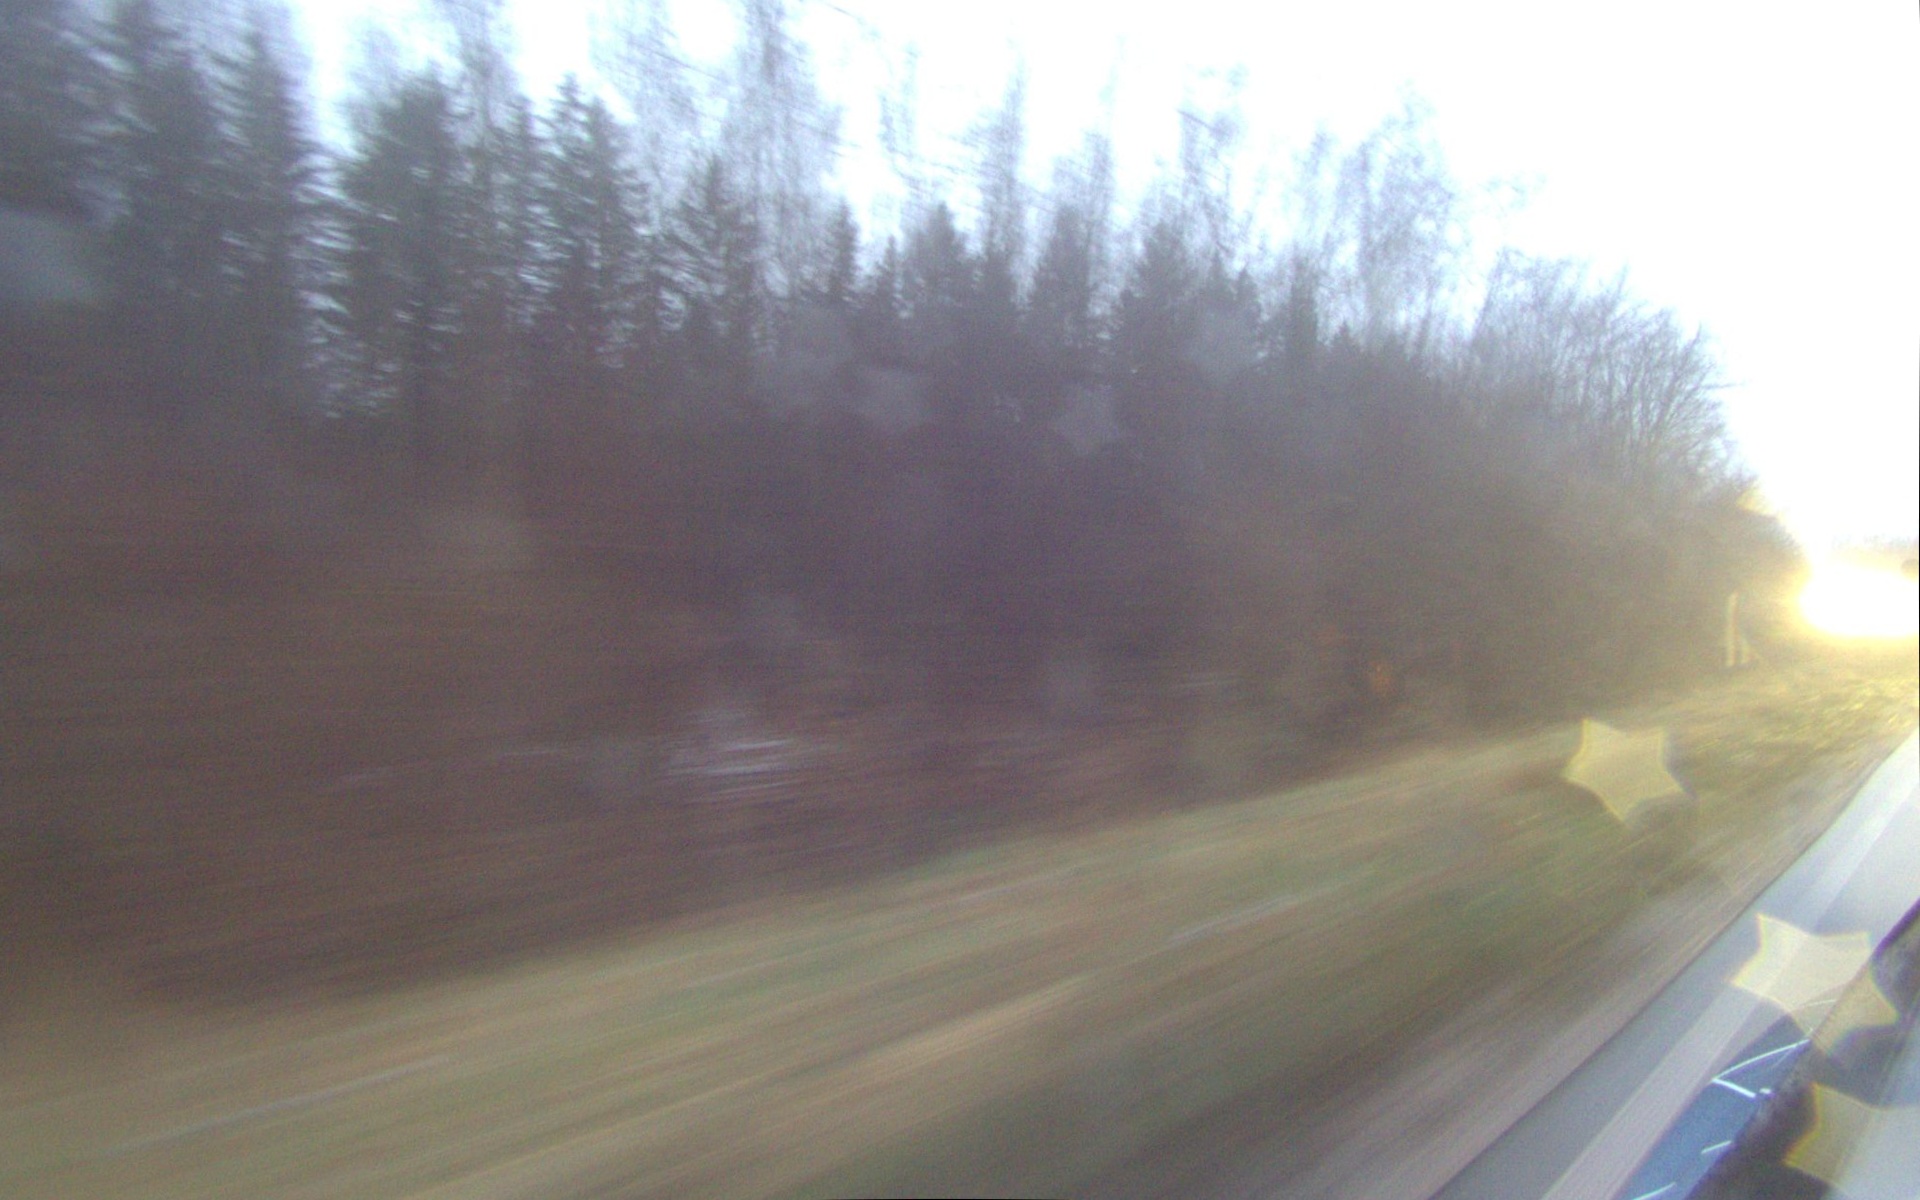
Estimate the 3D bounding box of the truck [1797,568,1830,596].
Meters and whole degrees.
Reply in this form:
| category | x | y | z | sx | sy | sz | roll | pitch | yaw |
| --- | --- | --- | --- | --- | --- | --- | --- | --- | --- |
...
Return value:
| category | x | y | z | sx | sy | sz | roll | pitch | yaw |
| --- | --- | --- | --- | --- | --- | --- | --- | --- | --- |
| truck | 148.821 | -3.136 | 176.567 | 3.337 | 4.484 | 11.021 | -4 | -2 | 36 |

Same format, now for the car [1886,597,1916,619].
| category | x | y | z | sx | sy | sz | roll | pitch | yaw |
| --- | --- | --- | --- | --- | --- | --- | --- | --- | --- |
| car | 78.646 | 0.621 | 84.607 | 1.696 | 1.753 | 3.940 | 0 | 1 | 42 |

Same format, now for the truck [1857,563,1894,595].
| category | x | y | z | sx | sy | sz | roll | pitch | yaw |
| --- | --- | --- | --- | --- | --- | --- | --- | --- | --- |
| truck | 111.059 | -2.565 | 122.873 | 2.644 | 3.640 | 9.704 | 2 | 3 | 39 |
